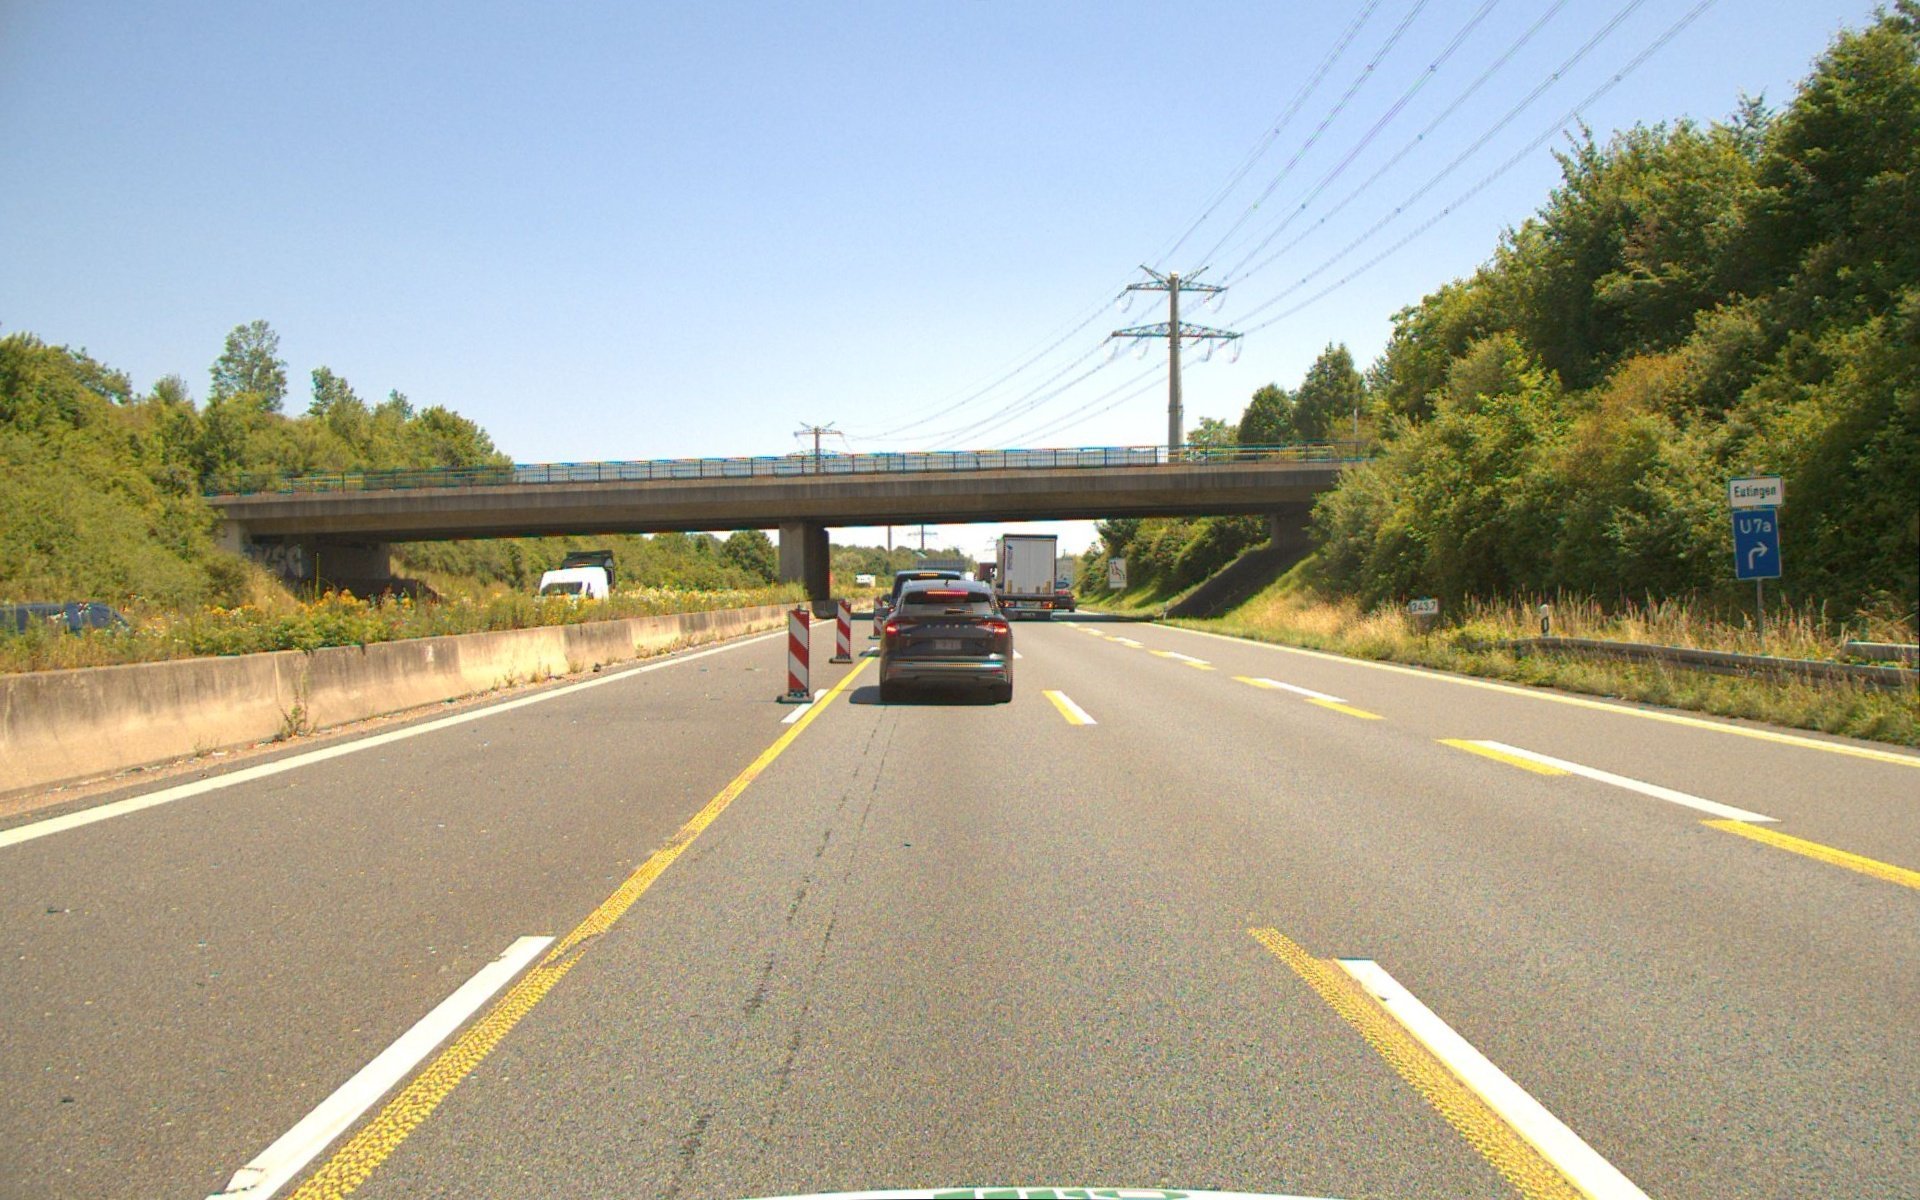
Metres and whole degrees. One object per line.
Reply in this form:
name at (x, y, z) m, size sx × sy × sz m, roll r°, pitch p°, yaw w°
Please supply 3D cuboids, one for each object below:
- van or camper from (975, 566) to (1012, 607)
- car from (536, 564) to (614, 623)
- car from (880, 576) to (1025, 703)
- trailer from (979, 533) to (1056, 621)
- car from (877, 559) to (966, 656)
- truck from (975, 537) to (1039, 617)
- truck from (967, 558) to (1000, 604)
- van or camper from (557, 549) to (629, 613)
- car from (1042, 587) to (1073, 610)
van or camper at (2.538, -1.063, 125.875) m, size 2.534 × 3.020 × 6.083 m, roll 1°, pitch 1°, yaw -1°
car at (-15.542, -0.281, 67.039) m, size 2.070 × 2.236 × 5.310 m, roll 2°, pitch 0°, yaw -2°
car at (-0.175, 0.469, 23.443) m, size 1.857 × 1.619 × 4.441 m, roll 0°, pitch 1°, yaw -2°
trailer at (2.753, -1.160, 83.412) m, size 3.004 × 4.113 × 11.482 m, roll 0°, pitch 1°, yaw -2°
car at (-0.912, 0.120, 38.260) m, size 1.857 × 1.873 × 4.443 m, roll 2°, pitch 3°, yaw -2°
truck at (2.477, -1.231, 90.218) m, size 2.964 × 4.158 × 7.792 m, roll 0°, pitch 1°, yaw -2°
truck at (2.204, -1.817, 160.895) m, size 3.015 × 4.219 × 13.054 m, roll 1°, pitch 0°, yaw 0°
van or camper at (-19.439, -1.014, 87.844) m, size 2.518 × 3.242 × 6.231 m, roll 0°, pitch 1°, yaw -1°
car at (6.596, -0.105, 112.532) m, size 1.743 × 1.515 × 4.463 m, roll 1°, pitch 0°, yaw -1°
